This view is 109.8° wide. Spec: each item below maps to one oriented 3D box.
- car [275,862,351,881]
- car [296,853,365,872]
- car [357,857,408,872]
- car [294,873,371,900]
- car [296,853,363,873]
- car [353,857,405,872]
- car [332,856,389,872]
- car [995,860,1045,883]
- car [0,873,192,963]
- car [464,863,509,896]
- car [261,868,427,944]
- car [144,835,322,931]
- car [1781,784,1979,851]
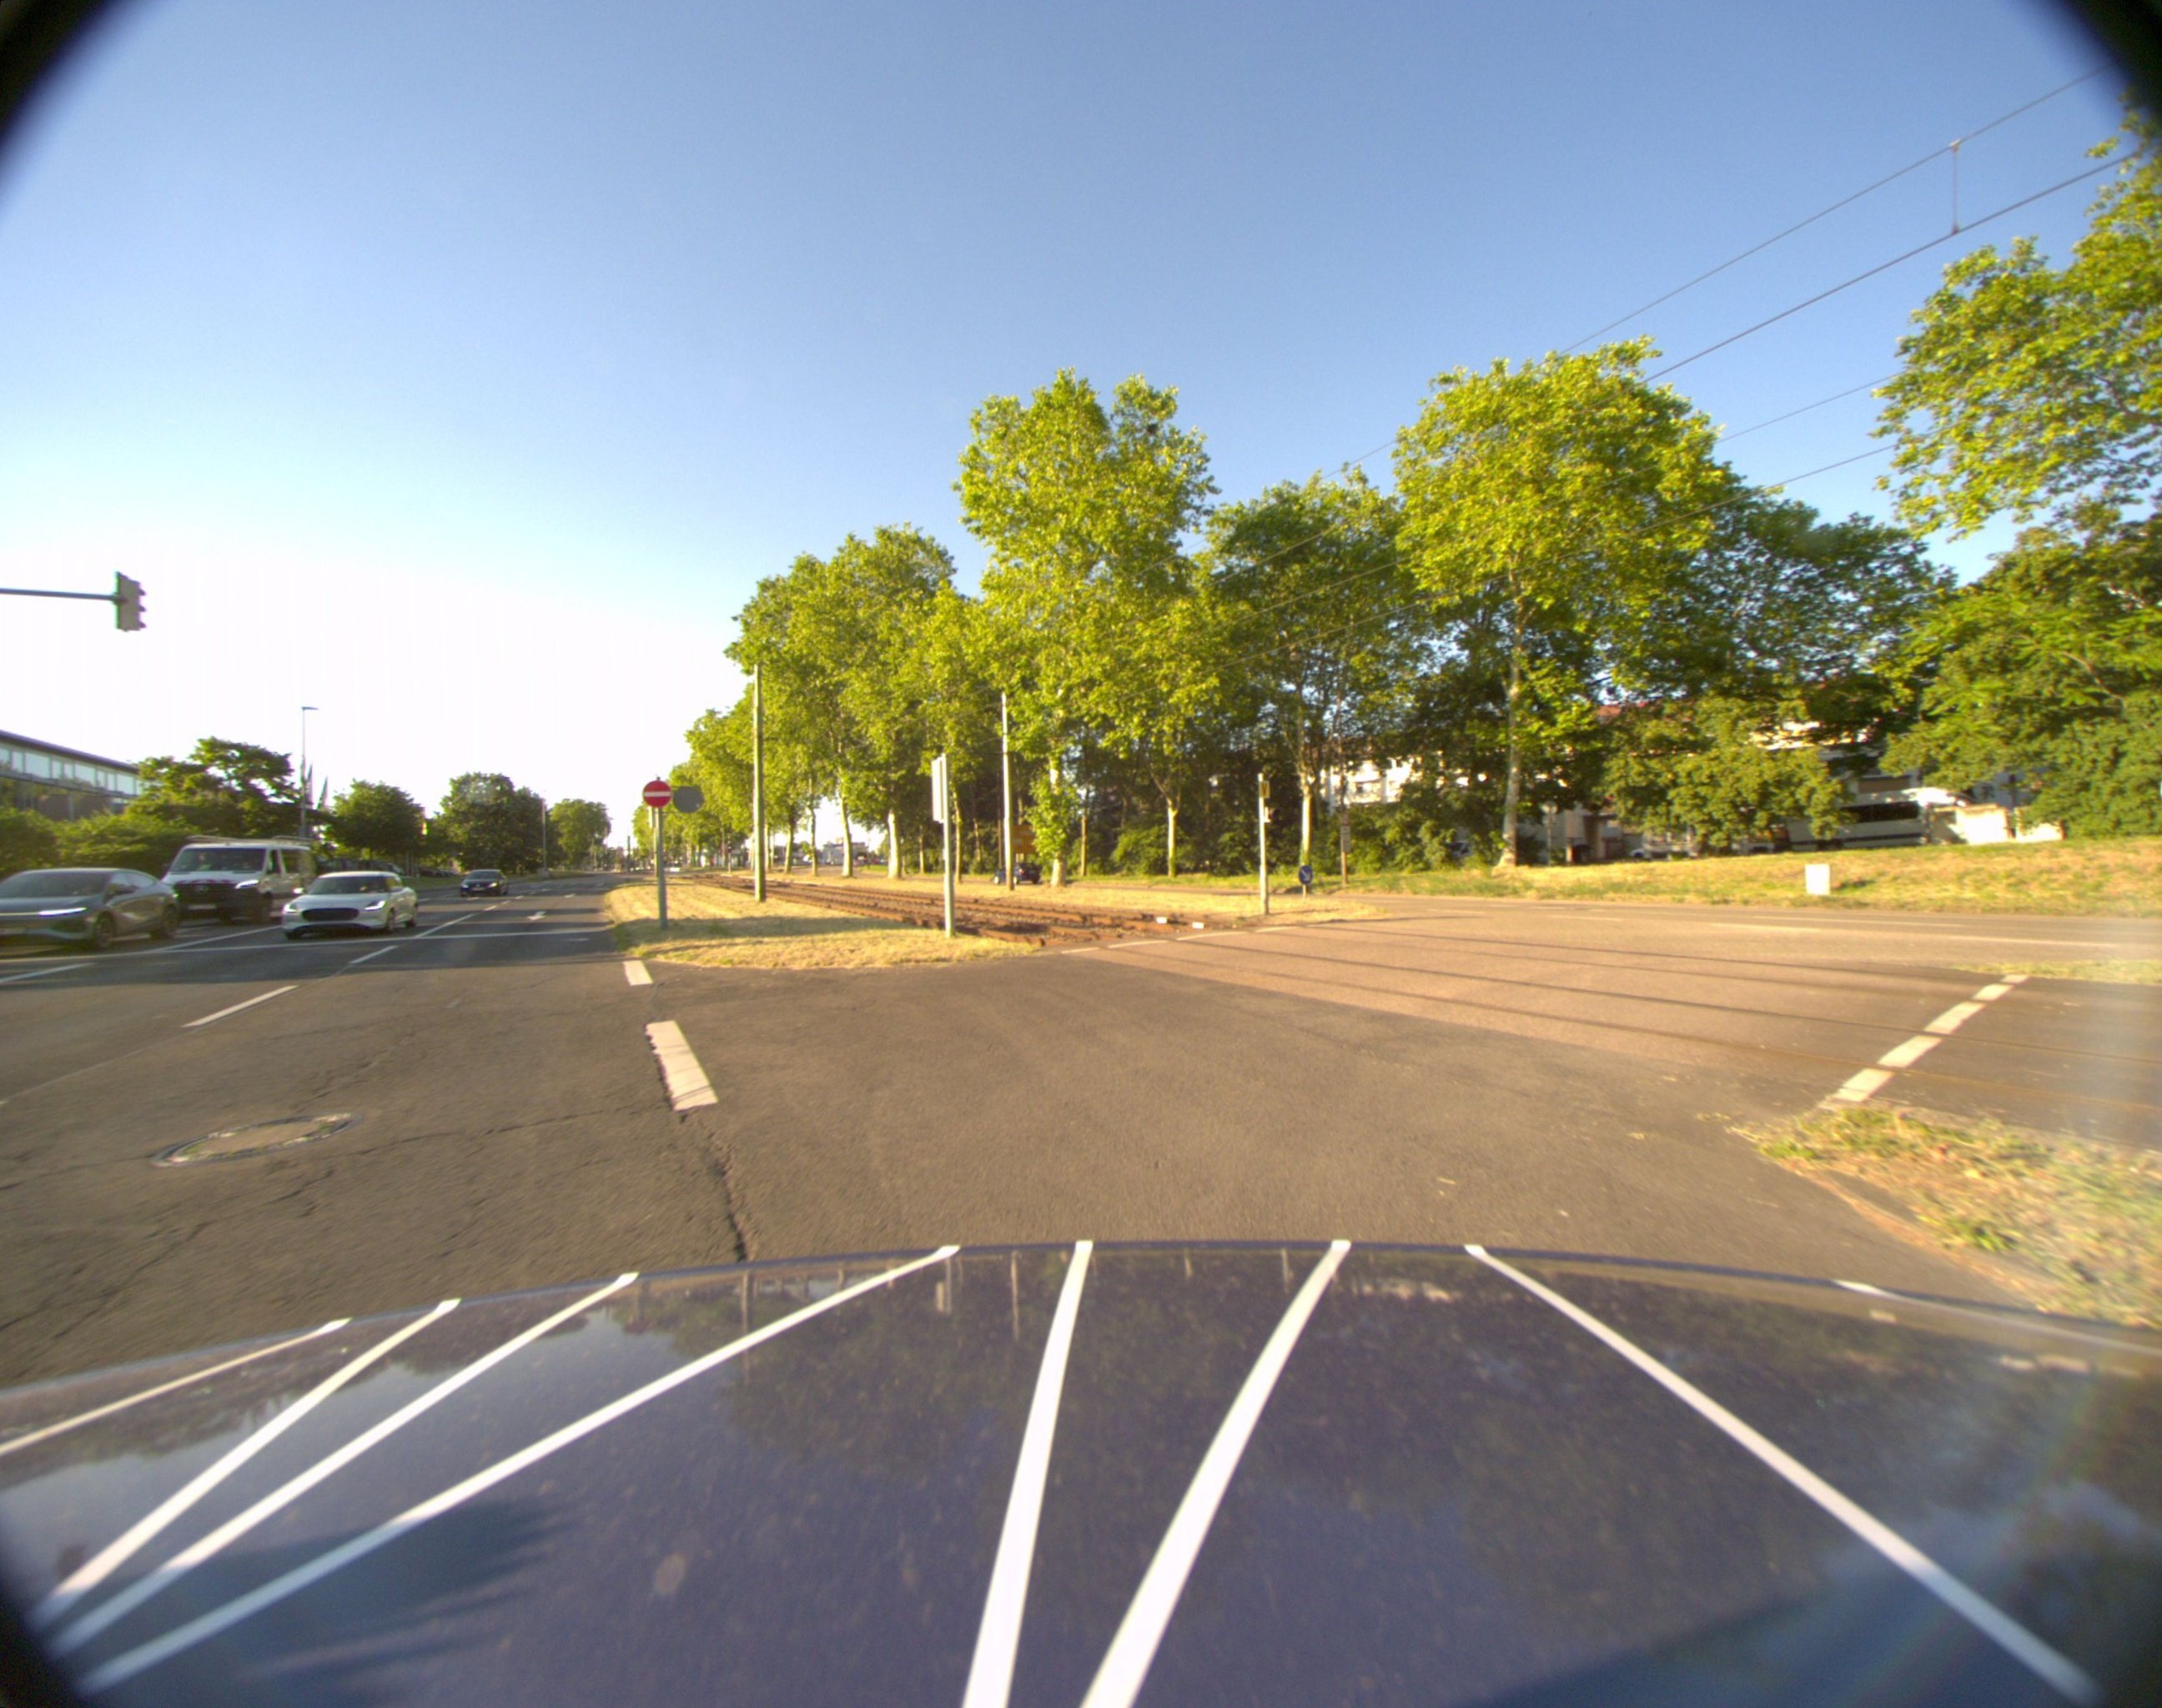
[{"bbox_3d":[-57.029,1.293,56.490,1.754,1.380,3.808,-1,-1,39],"label":"car"},{"bbox_3d":[-61.108,0.706,61.924,1.754,1.557,3.808,-1,-1,39],"label":"car"},{"bbox_3d":[-74.724,1.169,81.321,1.754,1.557,3.808,-1,-1,39],"label":"car"},{"bbox_3d":[-54.066,2.328,54.915,1.754,1.848,3.808,-1,-1,39],"label":"car"},{"bbox_3d":[-62.661,0.745,63.368,1.754,1.557,3.808,-1,-1,39],"label":"car"},{"bbox_3d":[-73.034,1.115,79.097,1.754,1.557,3.808,-1,-1,39],"label":"car"},{"bbox_3d":[-69.918,0.993,73.782,1.754,1.557,3.808,-1,-1,39],"label":"car"},{"bbox_3d":[-4.010,1.125,49.485,1.633,1.433,3.976,0,-1,-32],"label":"car"},{"bbox_3d":[-20.948,1.236,15.868,1.880,1.608,4.537,0,-1,-33],"label":"car"},{"bbox_3d":[-32.377,1.367,41.455,1.818,1.674,3.989,-1,0,-37],"label":"car"},{"bbox_3d":[-17.620,1.155,18.410,1.879,1.608,3.991,0,-1,-29],"label":"car"},{"bbox_3d":[-25.380,0.811,23.061,2.013,2.550,5.862,0,-1,-32],"label":"car"},{"bbox_3d":[34.396,-1.463,32.980,1.809,2.498,5.616,0,-1,-28],"label":"car"}]
